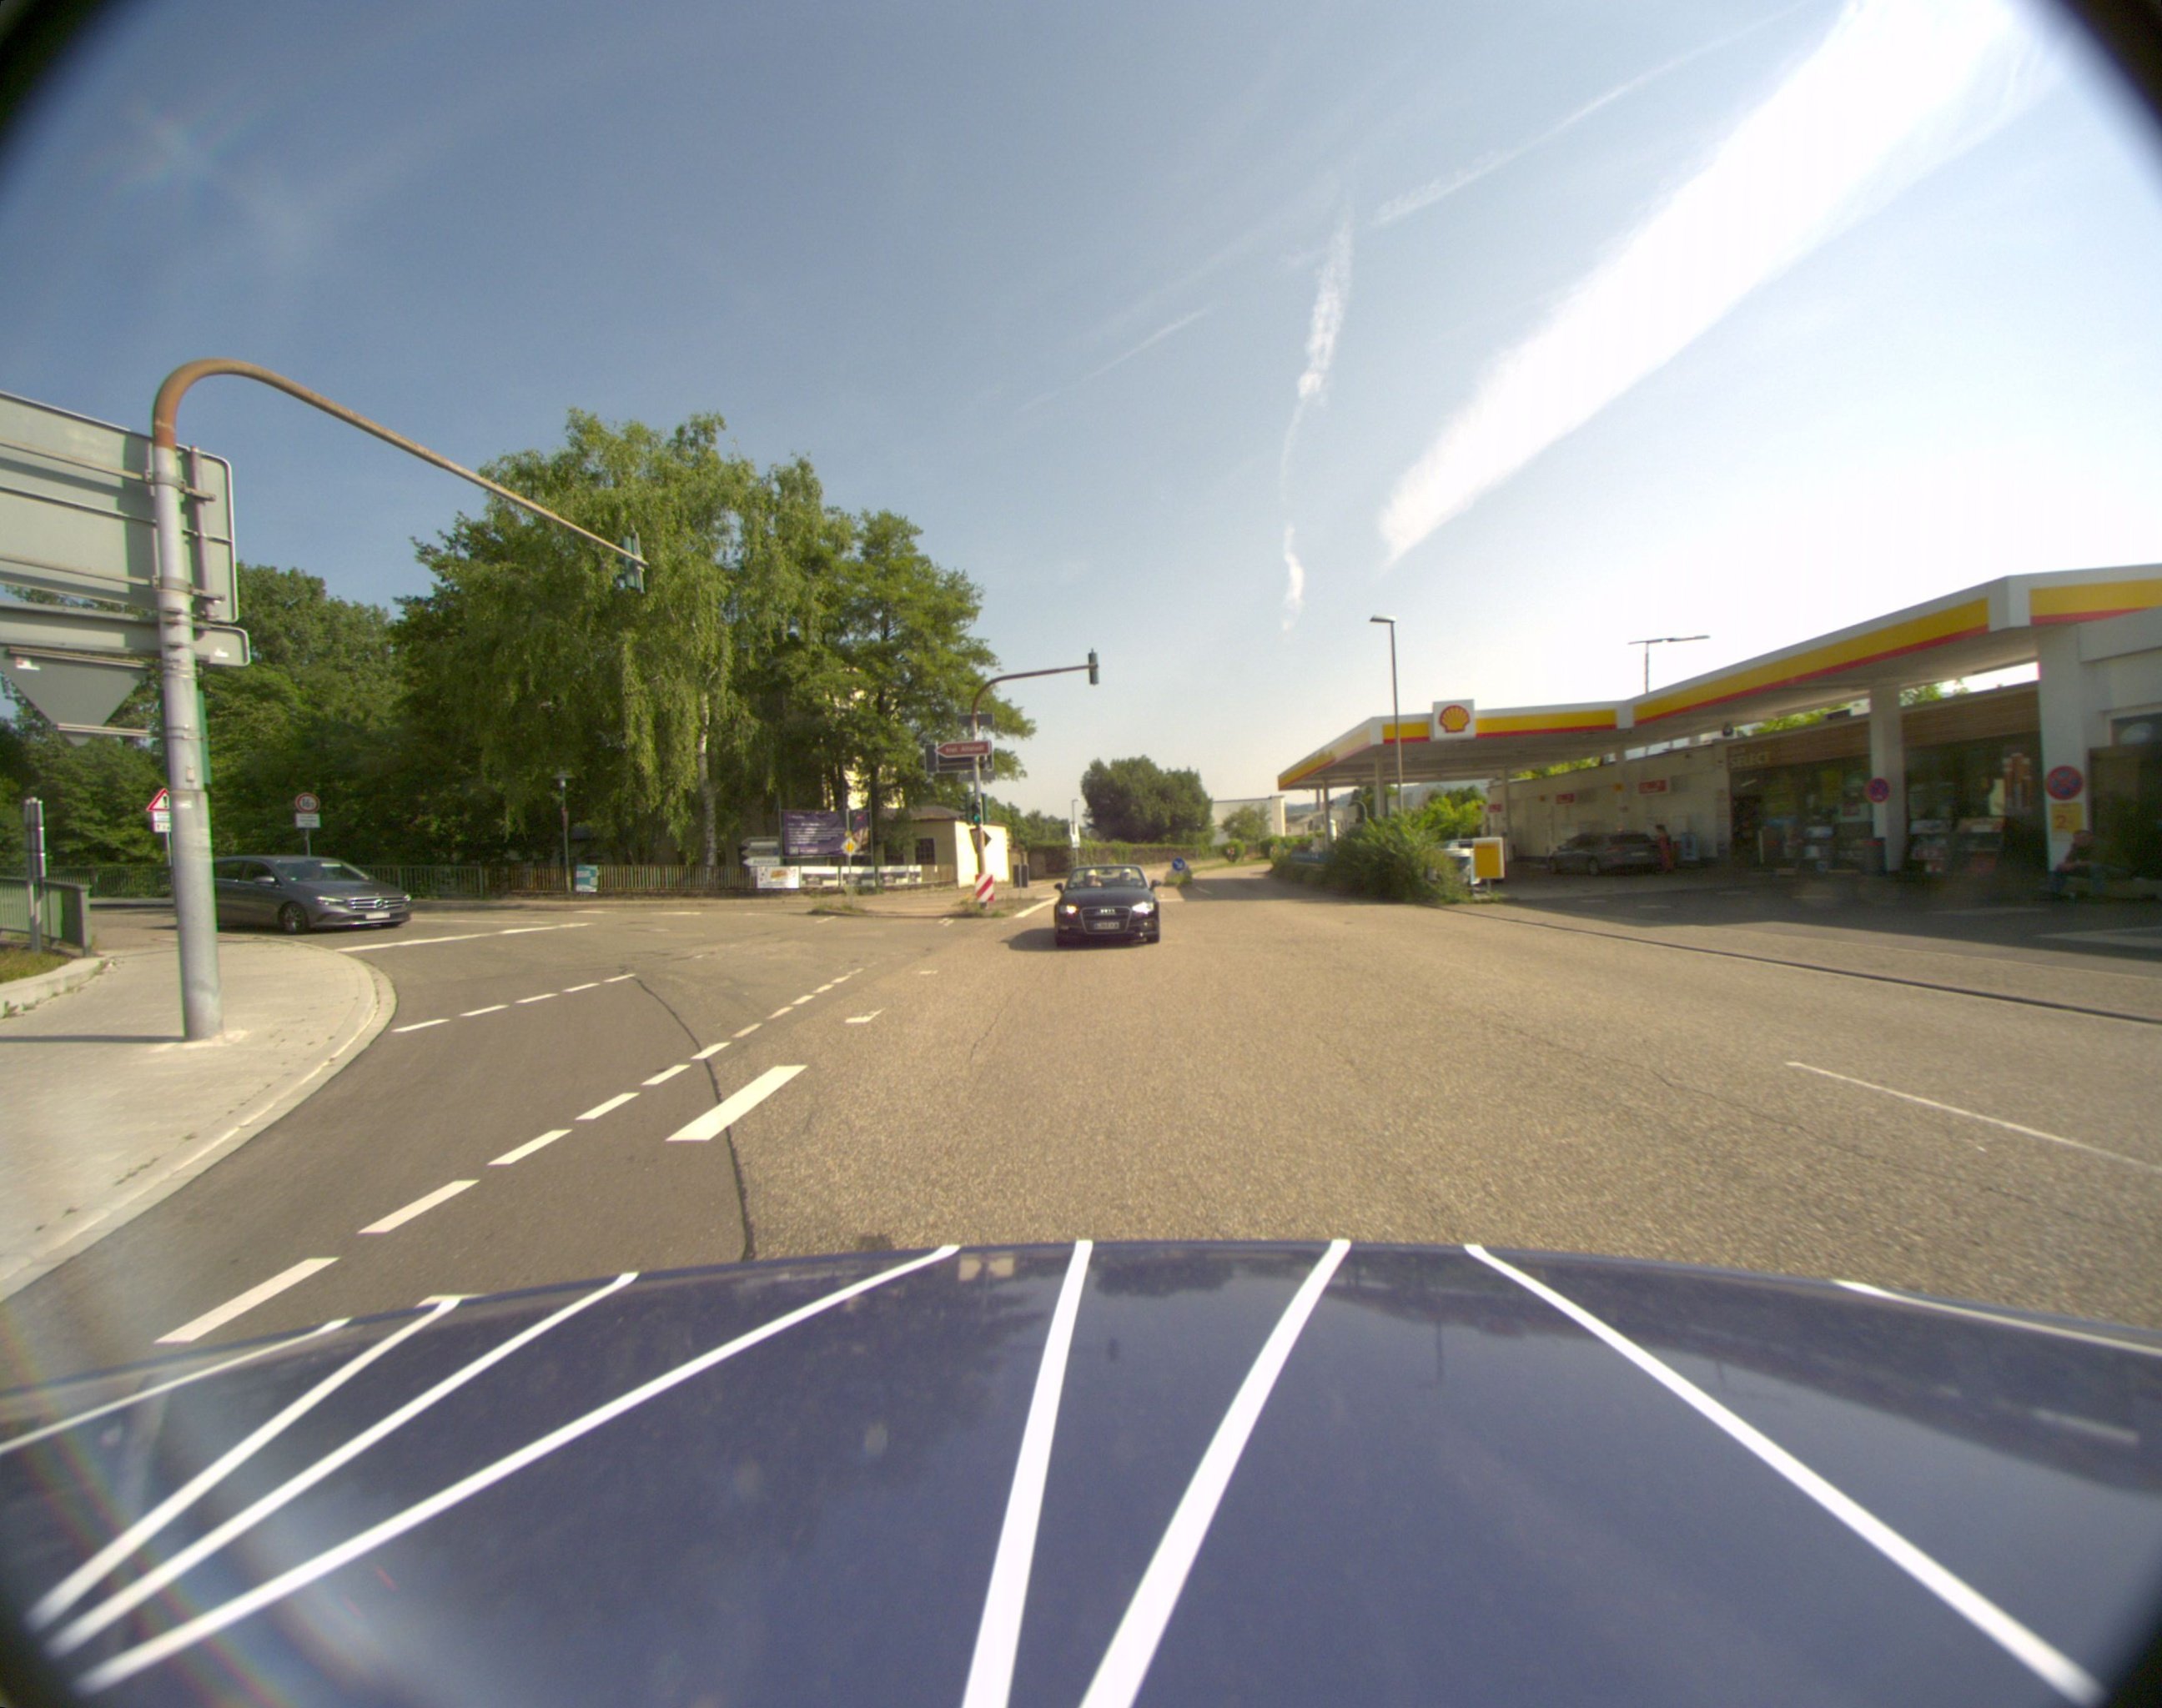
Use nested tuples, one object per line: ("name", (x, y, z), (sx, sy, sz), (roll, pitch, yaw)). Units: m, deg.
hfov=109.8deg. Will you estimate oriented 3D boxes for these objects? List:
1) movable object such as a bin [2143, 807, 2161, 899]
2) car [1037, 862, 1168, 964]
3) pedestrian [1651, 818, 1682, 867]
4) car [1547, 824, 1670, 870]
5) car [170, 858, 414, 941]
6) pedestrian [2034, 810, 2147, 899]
("movable object such as a bin", (15.892, -0.059, 10.169), (1.243, 1.283, 1.435), (-7, 1, 6))
("car", (0.406, 0.888, 13.271), (1.868, 1.323, 4.232), (-2, 1, 3))
("pedestrian", (18.831, -0.375, 24.447), (0.559, 1.538, 0.535), (-2, 2, 6))
("car", (17.875, -0.260, 26.001), (1.631, 1.403, 4.228), (-2, 1, 7))
("car", (-16.187, 0.877, 15.629), (4.076, 1.509, 1.669), (0, 2, 15))
("pedestrian", (15.500, 0.004, 11.691), (0.616, 1.288, 0.816), (-4, 1, 5))
